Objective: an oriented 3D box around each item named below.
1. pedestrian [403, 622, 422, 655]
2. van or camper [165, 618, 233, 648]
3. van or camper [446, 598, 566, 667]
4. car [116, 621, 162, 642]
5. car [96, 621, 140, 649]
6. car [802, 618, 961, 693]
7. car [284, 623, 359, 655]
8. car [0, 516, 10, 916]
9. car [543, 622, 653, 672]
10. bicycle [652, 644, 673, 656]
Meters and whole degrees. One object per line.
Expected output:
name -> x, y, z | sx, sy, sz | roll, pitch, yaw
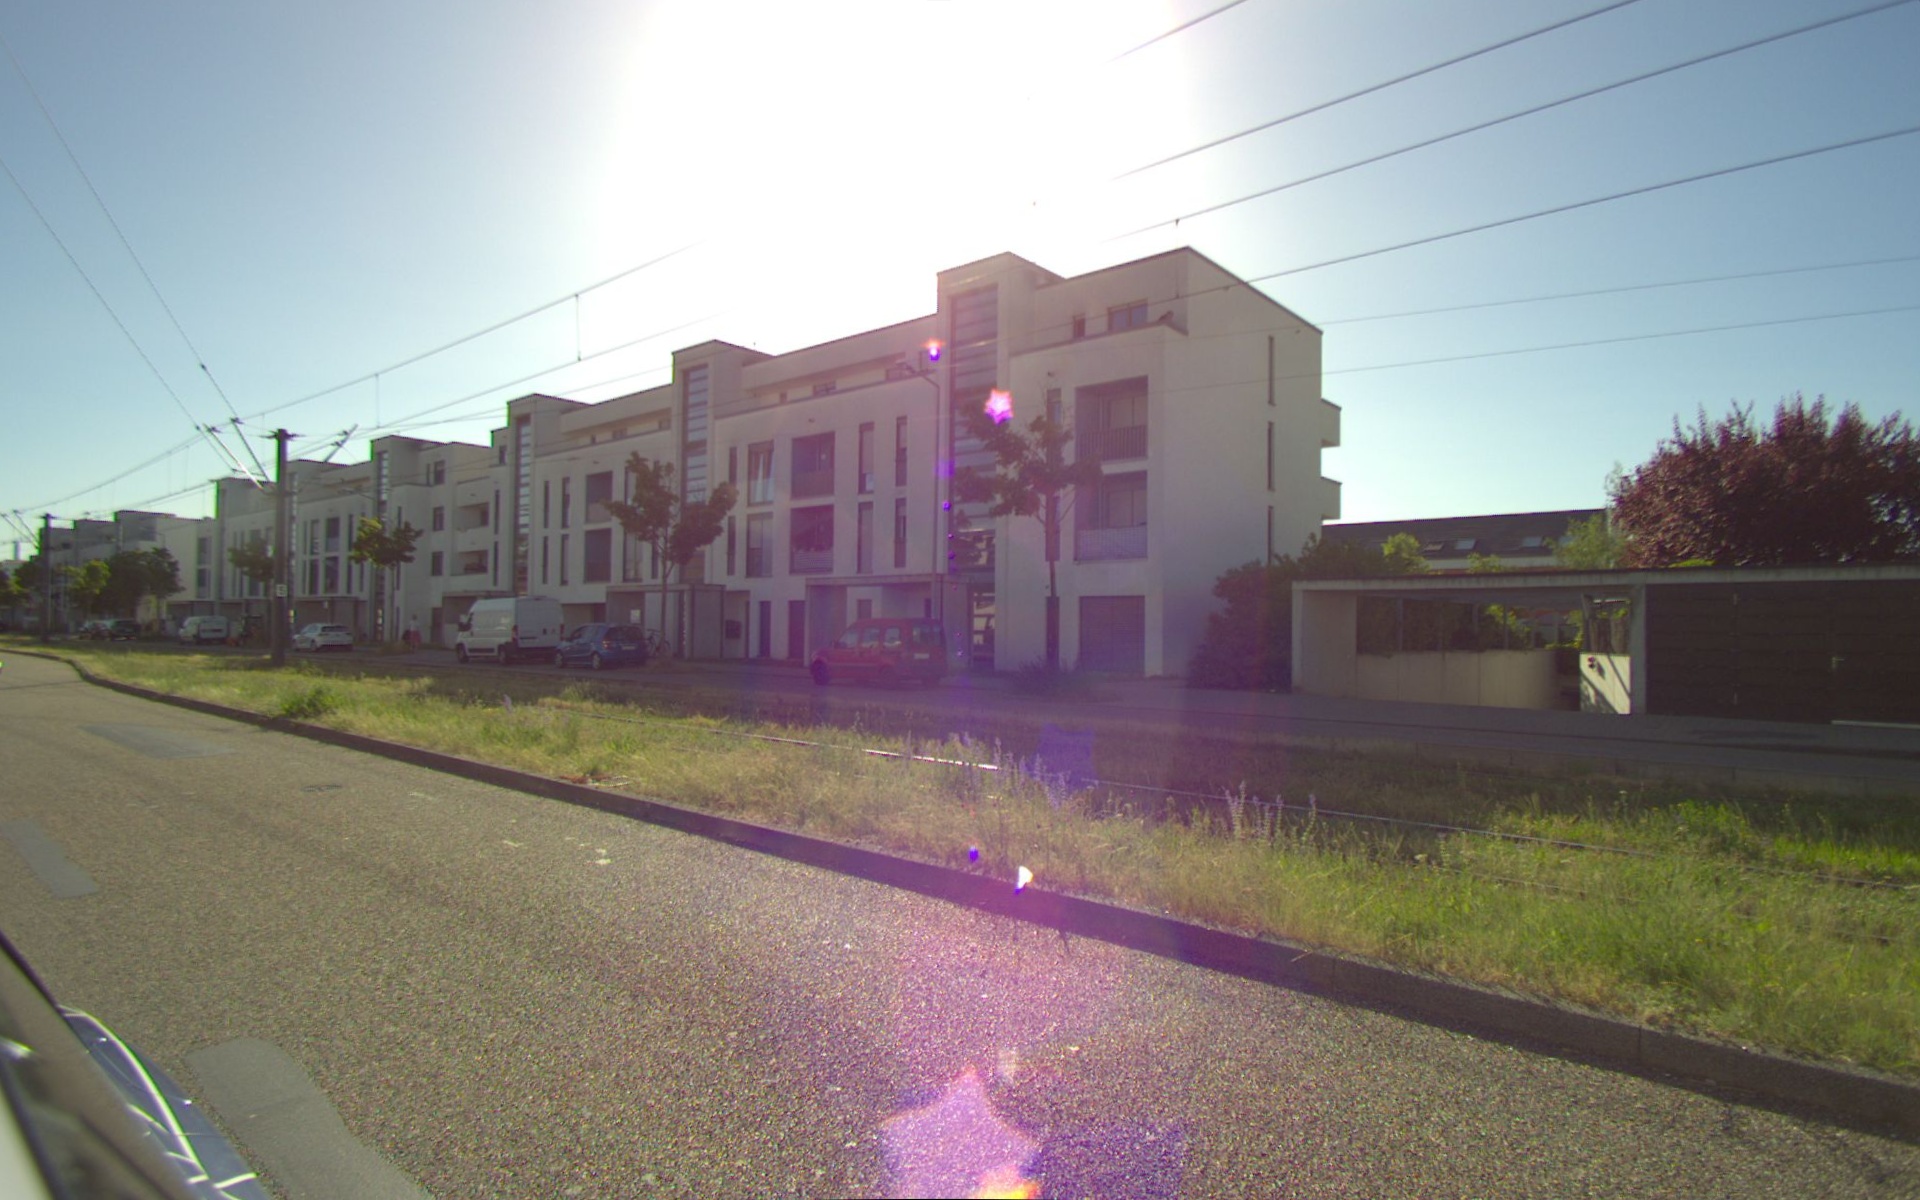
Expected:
pedestrian -> -27.451, 1.914, 50.726 | 0.611, 1.656, 0.612 | -1, 0, 35
van or camper -> -49.660, 2.142, 65.965 | 6.282, 1.862, 2.243 | -1, -2, 41
van or camper -> -17.513, 1.244, 38.907 | 5.257, 2.484, 2.169 | -1, -3, 41
car -> -58.939, 2.231, 72.638 | 3.493, 1.449, 1.844 | -1, 0, 38
car -> -64.403, 2.627, 77.381 | 3.995, 2.029, 1.766 | -1, 0, 38
car -> -2.029, 1.362, 25.508 | 3.908, 1.736, 1.769 | -1, -4, 43
car -> -33.048, 1.992, 52.370 | 4.117, 1.598, 2.021 | -1, -3, 39
car -> -7.311, 0.628, 5.986 | 5.083, 1.984, 2.099 | -1, -1, 42
car -> -12.380, 1.567, 34.507 | 3.835, 1.625, 1.909 | -1, -3, 41
bicycle -> -12.818, 2.159, 43.542 | 1.060, 0.502, 0.349 | -2, -3, 41
